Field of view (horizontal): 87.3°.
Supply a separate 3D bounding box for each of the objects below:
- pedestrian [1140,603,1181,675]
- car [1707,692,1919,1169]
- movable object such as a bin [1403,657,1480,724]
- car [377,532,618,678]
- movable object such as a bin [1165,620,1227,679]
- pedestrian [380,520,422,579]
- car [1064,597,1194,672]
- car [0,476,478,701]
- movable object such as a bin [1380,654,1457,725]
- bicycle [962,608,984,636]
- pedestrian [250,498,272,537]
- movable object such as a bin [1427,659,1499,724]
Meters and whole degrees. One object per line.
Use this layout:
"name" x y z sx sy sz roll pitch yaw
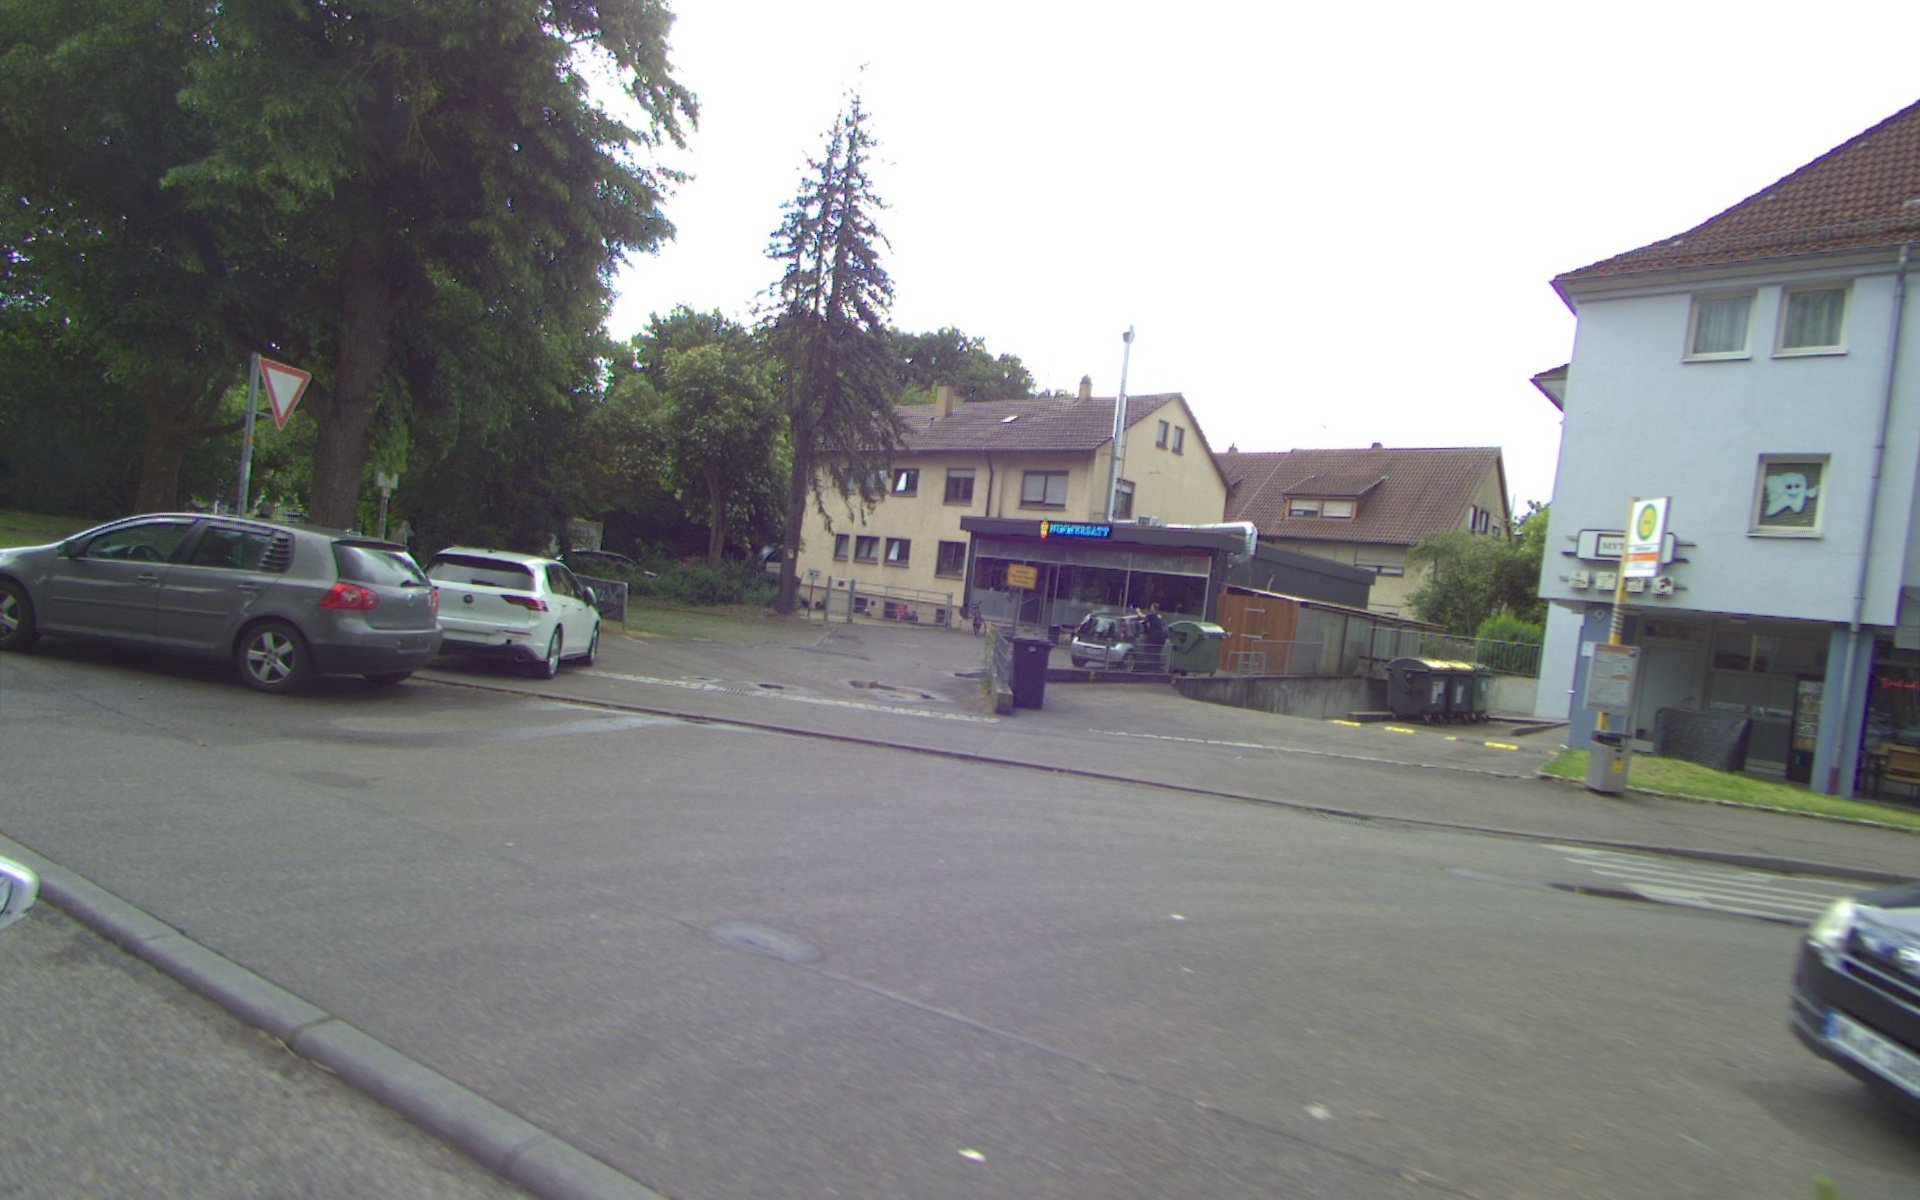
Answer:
"pedestrian" 5.110 1.003 25.638 0.602 1.752 0.686 7 2 37
"car" 4.843 1.304 3.245 3.428 1.422 1.573 7 1 10
"movable object such as a bin" 11.330 2.125 23.656 1.209 1.413 1.147 5 1 -43
"car" -5.778 0.023 13.141 1.735 1.398 4.252 7 0 -11
"movable object such as a bin" 5.896 1.239 25.093 0.980 1.362 1.215 7 1 38
"pedestrian" -16.092 -1.455 28.952 0.731 1.571 0.683 8 2 37
"car" 4.487 0.927 26.446 1.603 1.651 3.404 7 1 44
"car" -7.047 -0.142 9.499 4.036 1.447 1.733 8 1 3
"movable object such as a bin" 10.352 2.024 22.724 1.209 1.434 1.081 5 1 -43
"bicycle" 0.470 0.748 34.504 0.405 0.887 1.966 7 1 8
"pedestrian" -29.031 -3.439 41.768 0.509 1.551 0.768 6 1 -43
"movable object such as a bin" 12.273 2.222 24.551 1.209 1.413 1.081 5 1 -43
